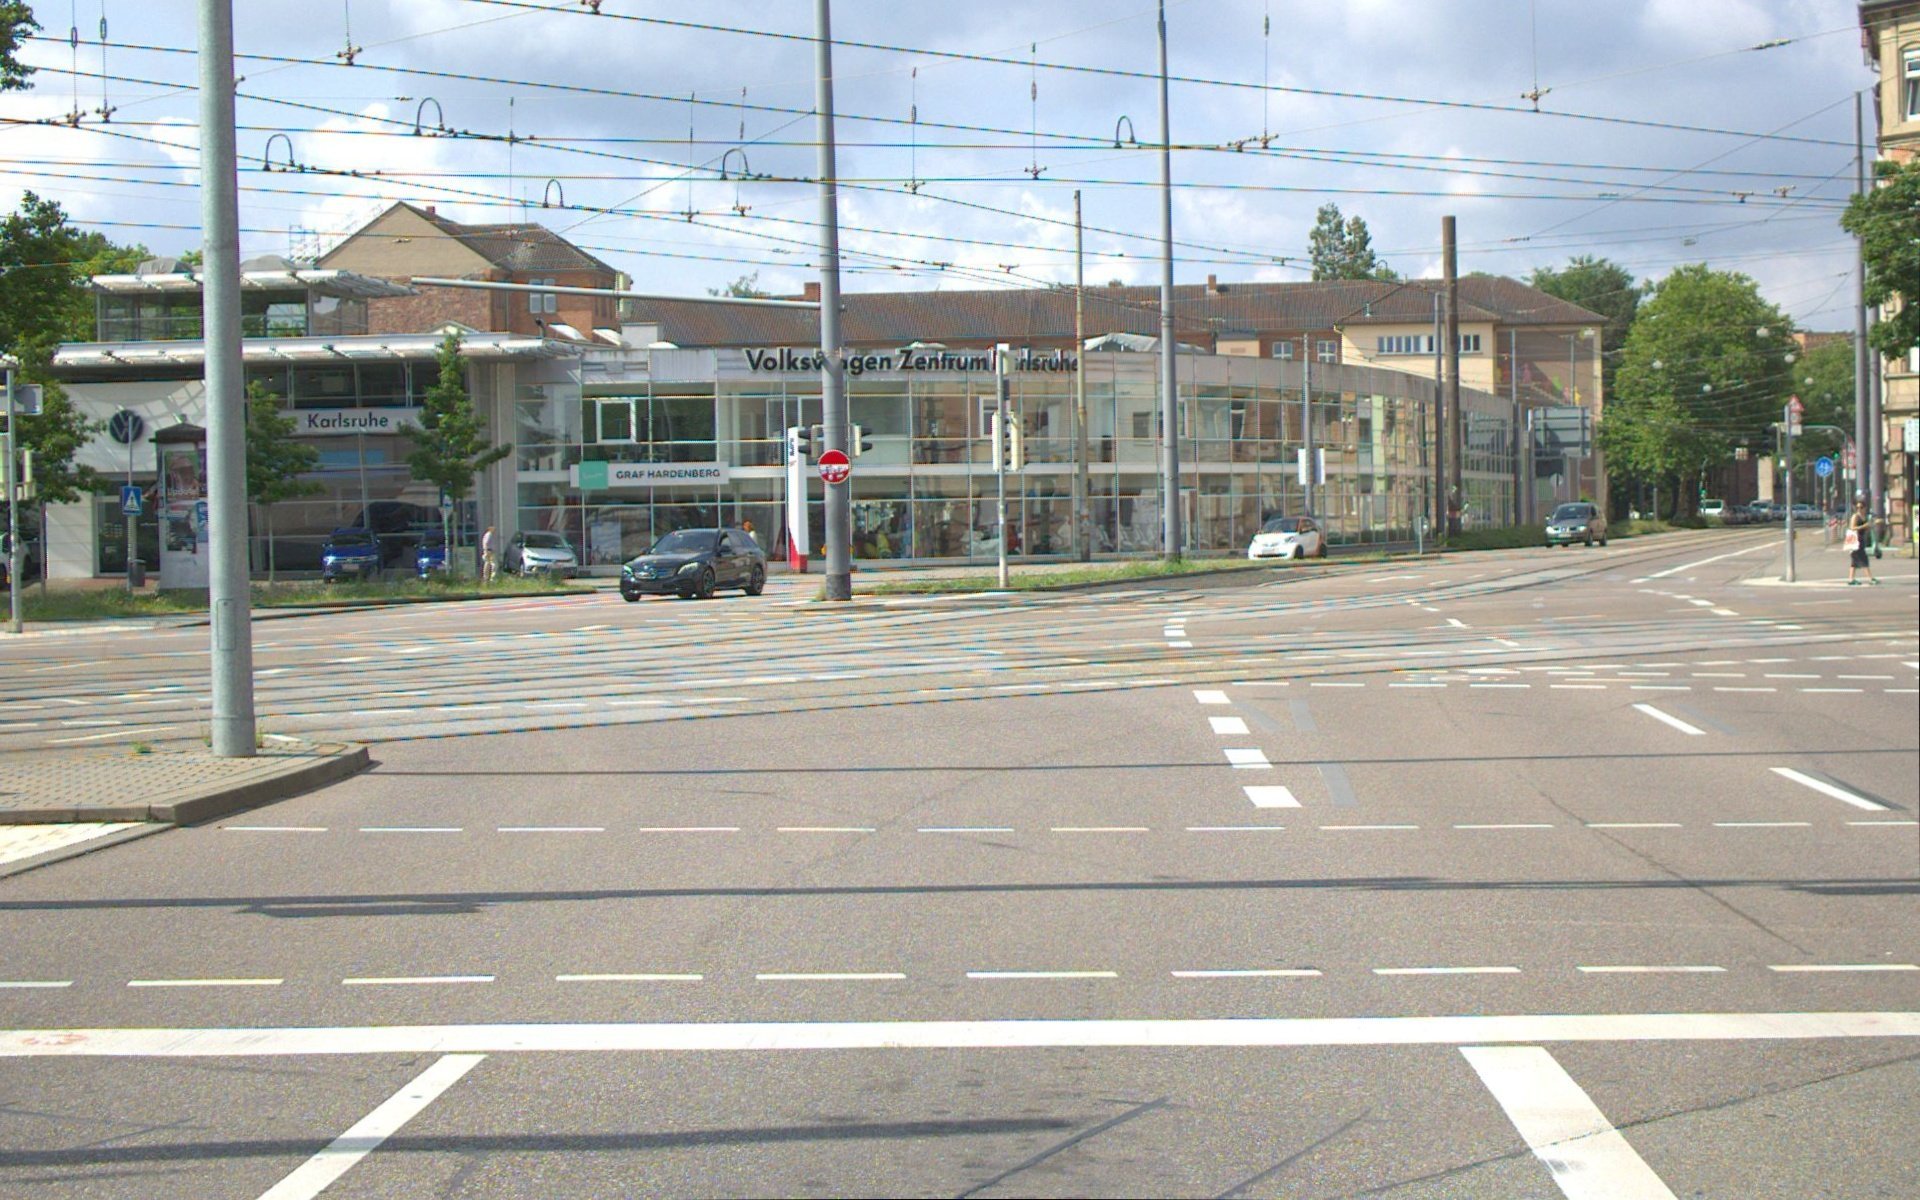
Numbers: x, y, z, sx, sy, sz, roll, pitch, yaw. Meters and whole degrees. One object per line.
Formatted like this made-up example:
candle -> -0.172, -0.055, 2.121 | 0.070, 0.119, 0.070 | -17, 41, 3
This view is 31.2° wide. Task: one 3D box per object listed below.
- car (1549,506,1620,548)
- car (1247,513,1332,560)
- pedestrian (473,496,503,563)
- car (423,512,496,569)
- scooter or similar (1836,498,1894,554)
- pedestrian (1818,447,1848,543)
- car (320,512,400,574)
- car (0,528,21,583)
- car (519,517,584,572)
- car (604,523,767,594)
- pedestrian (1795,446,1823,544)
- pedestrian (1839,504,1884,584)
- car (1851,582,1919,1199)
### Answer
car -> 24.271, -2.846, 133.531 | 1.996, 1.568, 3.733 | 0, 1, 21
car -> 10.716, -2.058, 111.625 | 1.687, 1.465, 3.652 | 1, 1, 23
pedestrian -> -14.327, -2.145, 104.398 | 0.869, 2.007, 0.704 | -1, 1, -7
car -> -15.465, -1.830, 106.361 | 1.993, 1.719, 4.001 | 1, 1, -5
scooter or similar -> 22.909, -1.858, 87.062 | 1.177, 1.381, 2.803 | 1, 1, 10
pedestrian -> 28.025, -3.362, 110.403 | 0.725, 3.065, 0.886 | 1, 0, 25
car -> -18.639, -1.769, 106.950 | 1.993, 1.831, 4.001 | -2, 1, -4
car -> -30.680, -1.394, 107.905 | 1.785, 1.676, 4.001 | -1, 1, -8
car -> -12.872, -1.740, 108.169 | 1.928, 1.678, 4.001 | 1, 1, -8
car -> -5.594, -0.863, 70.558 | 1.866, 1.371, 3.937 | 0, 1, 20
pedestrian -> 27.340, -3.374, 110.742 | 0.667, 3.110, 0.886 | 1, 0, 25
pedestrian -> 17.269, -1.070, 65.842 | 0.741, 1.510, 0.544 | 0, 1, 24
car -> 3.043, 0.701, 6.020 | 1.757, 1.424, 4.675 | 1, 0, 0
